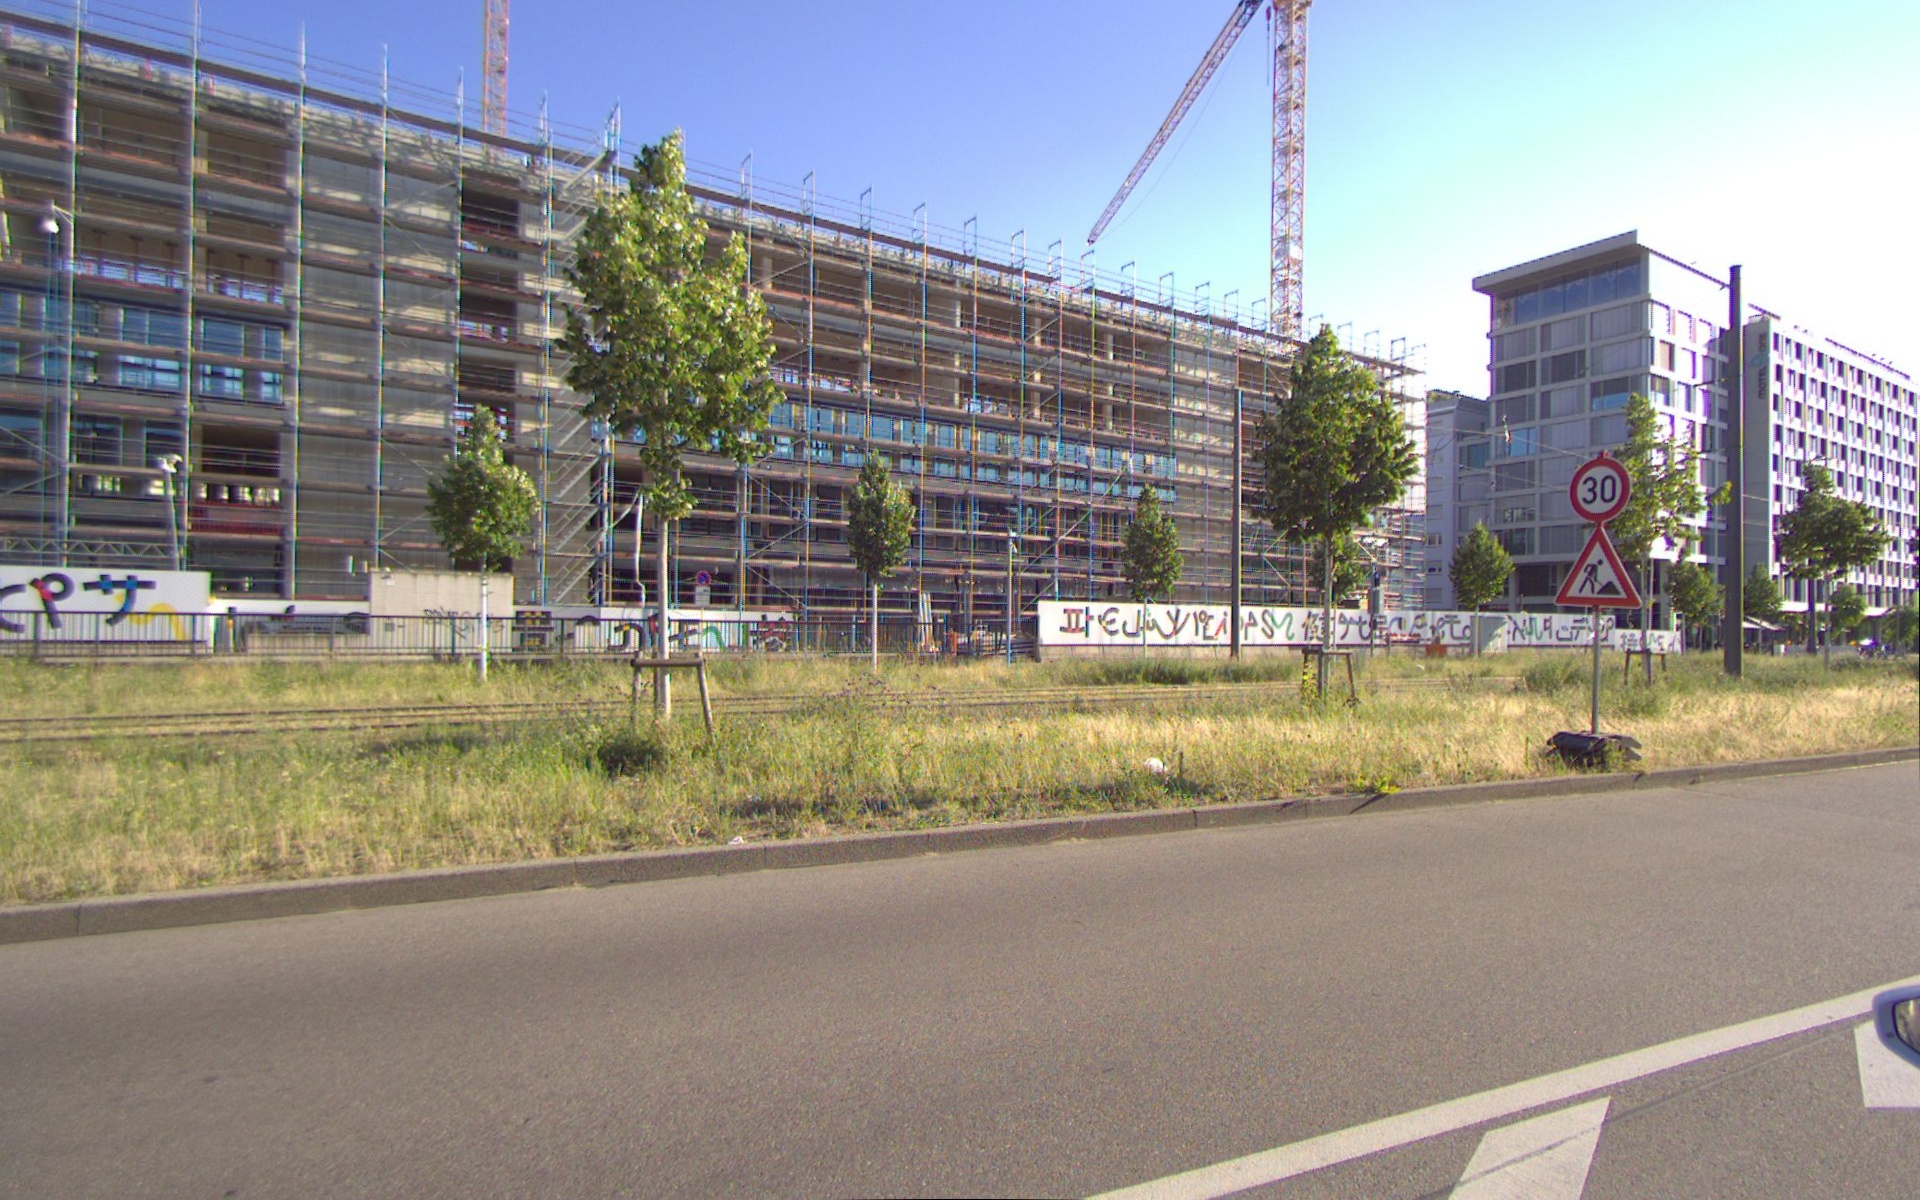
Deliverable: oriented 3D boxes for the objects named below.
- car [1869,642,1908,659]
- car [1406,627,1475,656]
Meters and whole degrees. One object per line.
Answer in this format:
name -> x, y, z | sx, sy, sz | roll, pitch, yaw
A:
car -> 84.017, 4.583, 90.888 | 3.543, 1.461, 1.699 | 2, 0, -32
car -> 26.026, 2.268, 54.393 | 3.543, 1.461, 1.699 | 2, 0, -32
